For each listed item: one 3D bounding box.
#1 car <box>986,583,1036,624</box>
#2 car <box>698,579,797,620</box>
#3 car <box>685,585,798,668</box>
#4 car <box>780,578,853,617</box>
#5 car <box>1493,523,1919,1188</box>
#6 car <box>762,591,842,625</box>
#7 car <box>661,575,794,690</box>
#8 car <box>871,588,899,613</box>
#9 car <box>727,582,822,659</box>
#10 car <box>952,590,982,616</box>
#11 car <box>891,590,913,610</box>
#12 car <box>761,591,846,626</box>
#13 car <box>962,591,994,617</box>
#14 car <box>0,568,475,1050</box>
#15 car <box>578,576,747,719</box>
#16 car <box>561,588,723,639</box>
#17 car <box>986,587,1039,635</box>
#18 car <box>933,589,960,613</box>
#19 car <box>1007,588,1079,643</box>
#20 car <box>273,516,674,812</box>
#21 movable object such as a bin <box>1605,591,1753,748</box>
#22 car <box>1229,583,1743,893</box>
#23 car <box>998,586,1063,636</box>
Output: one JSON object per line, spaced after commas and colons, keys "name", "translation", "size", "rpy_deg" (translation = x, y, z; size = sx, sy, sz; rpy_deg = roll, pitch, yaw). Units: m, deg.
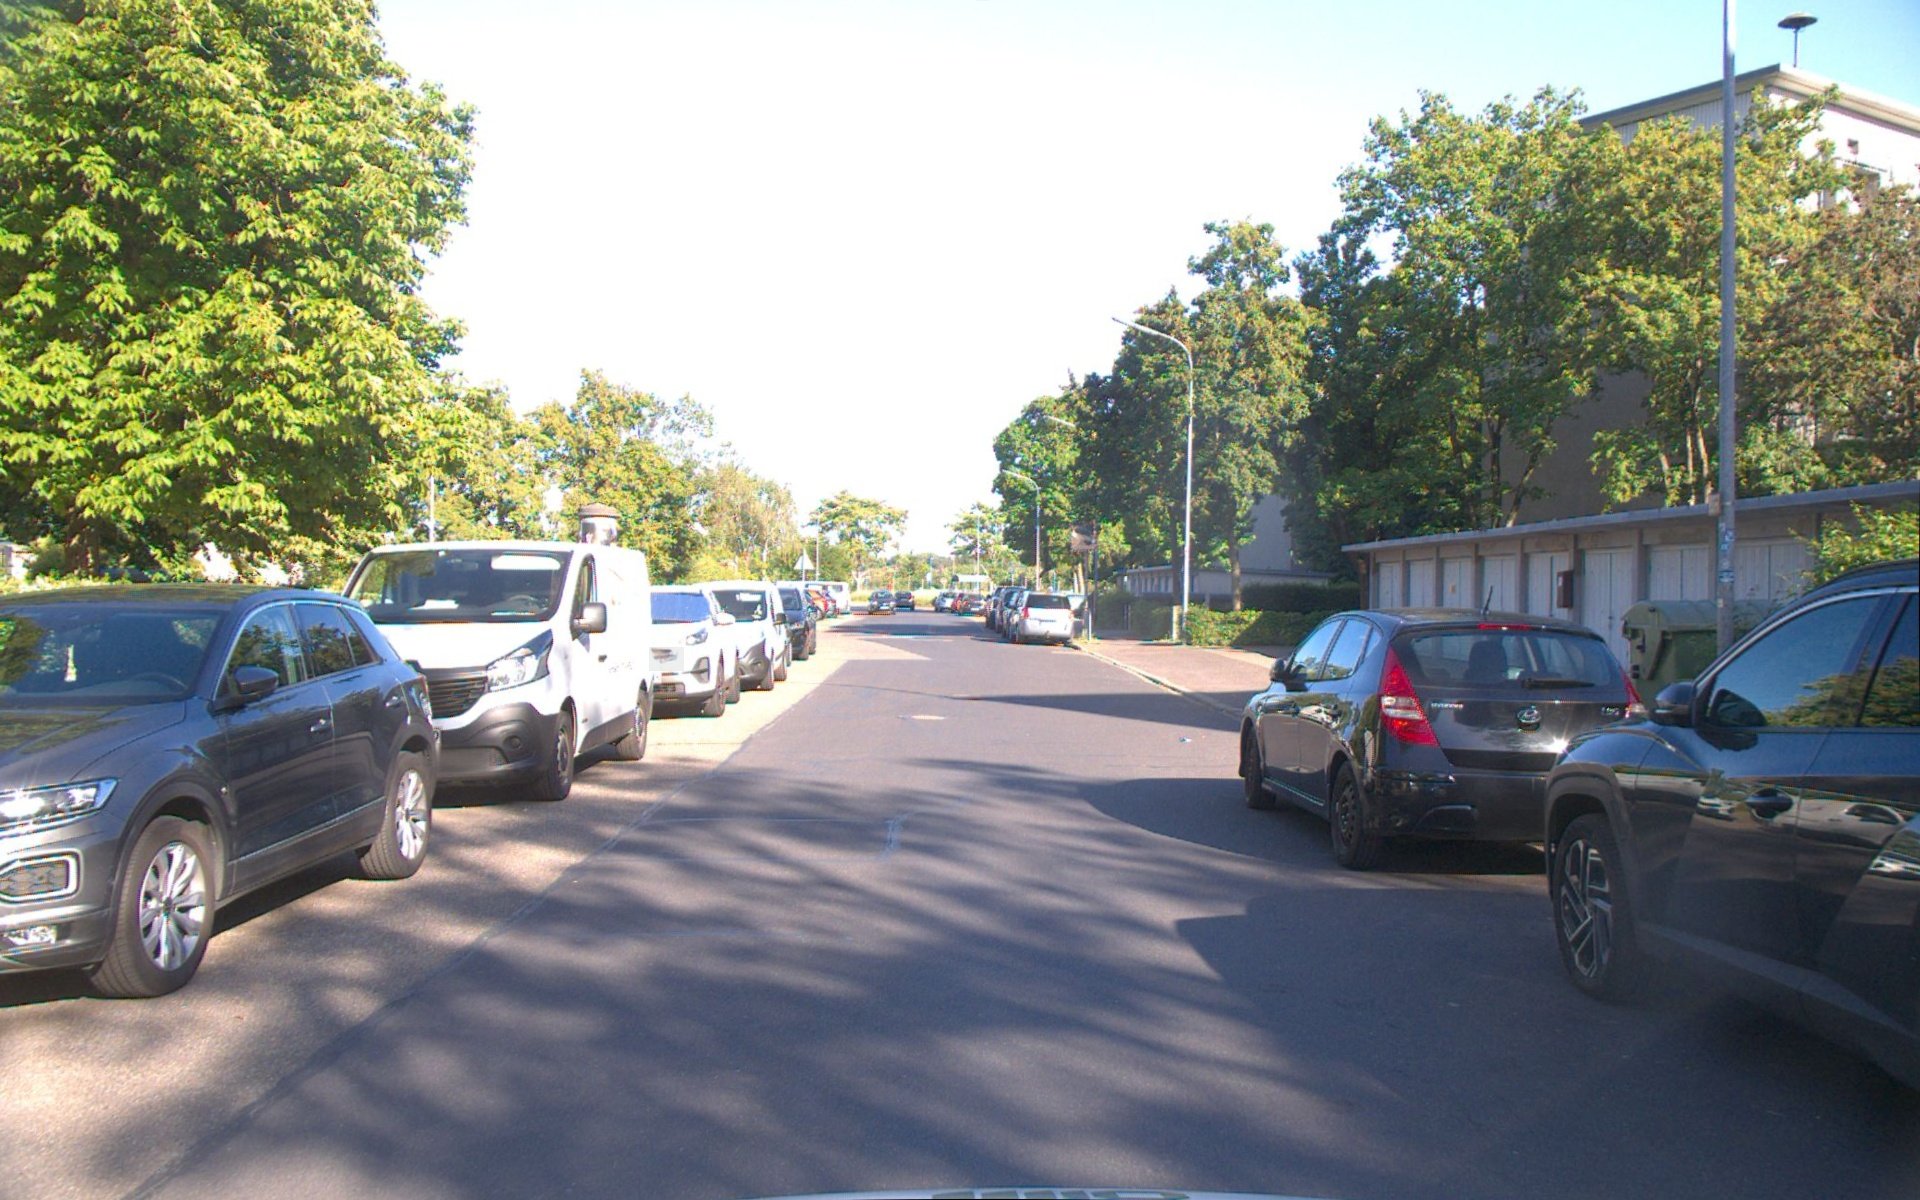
{"name": "car", "translation": [2.176, 0.153, 71.432], "size": [1.760, 1.672, 3.949], "rpy_deg": [2, 0, -3]}
{"name": "car", "translation": [-8.813, -0.023, 68.755], "size": [3.976, 1.589, 1.799], "rpy_deg": [2, 0, -6]}
{"name": "car", "translation": [-4.227, 0.478, 32.537], "size": [1.711, 1.504, 4.152], "rpy_deg": [0, 0, -1]}
{"name": "car", "translation": [-8.047, -0.139, 92.716], "size": [3.976, 2.027, 1.799], "rpy_deg": [2, 0, -6]}
{"name": "car", "translation": [3.344, 0.662, 5.011], "size": [1.869, 1.668, 4.627], "rpy_deg": [2, 0, -1]}
{"name": "car", "translation": [-8.025, 0.396, 84.288], "size": [3.976, 1.589, 1.799], "rpy_deg": [2, 0, -6]}
{"name": "car", "translation": [-3.800, 0.494, 27.622], "size": [1.711, 1.762, 4.004], "rpy_deg": [0, 0, -1]}
{"name": "car", "translation": [-4.902, 0.027, 107.397], "size": [1.760, 1.589, 3.949], "rpy_deg": [2, 0, -3]}
{"name": "car", "translation": [-4.136, 0.431, 37.463], "size": [1.711, 1.641, 4.307], "rpy_deg": [0, 0, -1]}
{"name": "car", "translation": [0.462, 0.209, 113.506], "size": [1.760, 1.672, 3.949], "rpy_deg": [2, 0, -3]}
{"name": "car", "translation": [-4.644, -0.004, 132.162], "size": [1.646, 1.540, 4.101], "rpy_deg": [3, 0, -3]}
{"name": "car", "translation": [-7.590, 0.405, 80.250], "size": [3.976, 1.589, 1.799], "rpy_deg": [2, 0, -6]}
{"name": "car", "translation": [1.148, 0.242, 106.109], "size": [1.760, 1.575, 3.949], "rpy_deg": [2, 0, -3]}
{"name": "car", "translation": [-3.693, 0.670, 7.436], "size": [1.710, 1.560, 4.139], "rpy_deg": [0, 0, 1]}
{"name": "car", "translation": [-3.826, 0.551, 21.923], "size": [1.712, 1.699, 4.375], "rpy_deg": [0, 0, -4]}
{"name": "car", "translation": [-9.301, 0.386, 48.558], "size": [4.292, 1.461, 1.845], "rpy_deg": [0, 0, 10]}
{"name": "car", "translation": [2.094, 0.413, 66.847], "size": [1.760, 1.817, 3.949], "rpy_deg": [2, 0, -3]}
{"name": "car", "translation": [-1.017, 0.079, 123.537], "size": [1.760, 1.672, 3.949], "rpy_deg": [2, 0, -3]}
{"name": "car", "translation": [2.509, 0.446, 50.987], "size": [1.760, 1.589, 3.949], "rpy_deg": [2, 0, -3]}
{"name": "car", "translation": [-3.734, 0.417, 13.755], "size": [1.876, 1.997, 5.087], "rpy_deg": [0, 0, -1]}
{"name": "movable object such as a bin", "translation": [7.044, 0.653, 16.266], "size": [0.898, 1.479, 1.232], "rpy_deg": [1, 0, -1]}
{"name": "car", "translation": [3.084, 0.710, 10.741], "size": [1.869, 1.557, 4.327], "rpy_deg": [2, 0, -1]}
{"name": "car", "translation": [2.362, 0.359, 56.227], "size": [1.760, 1.589, 3.949], "rpy_deg": [2, 0, -3]}
